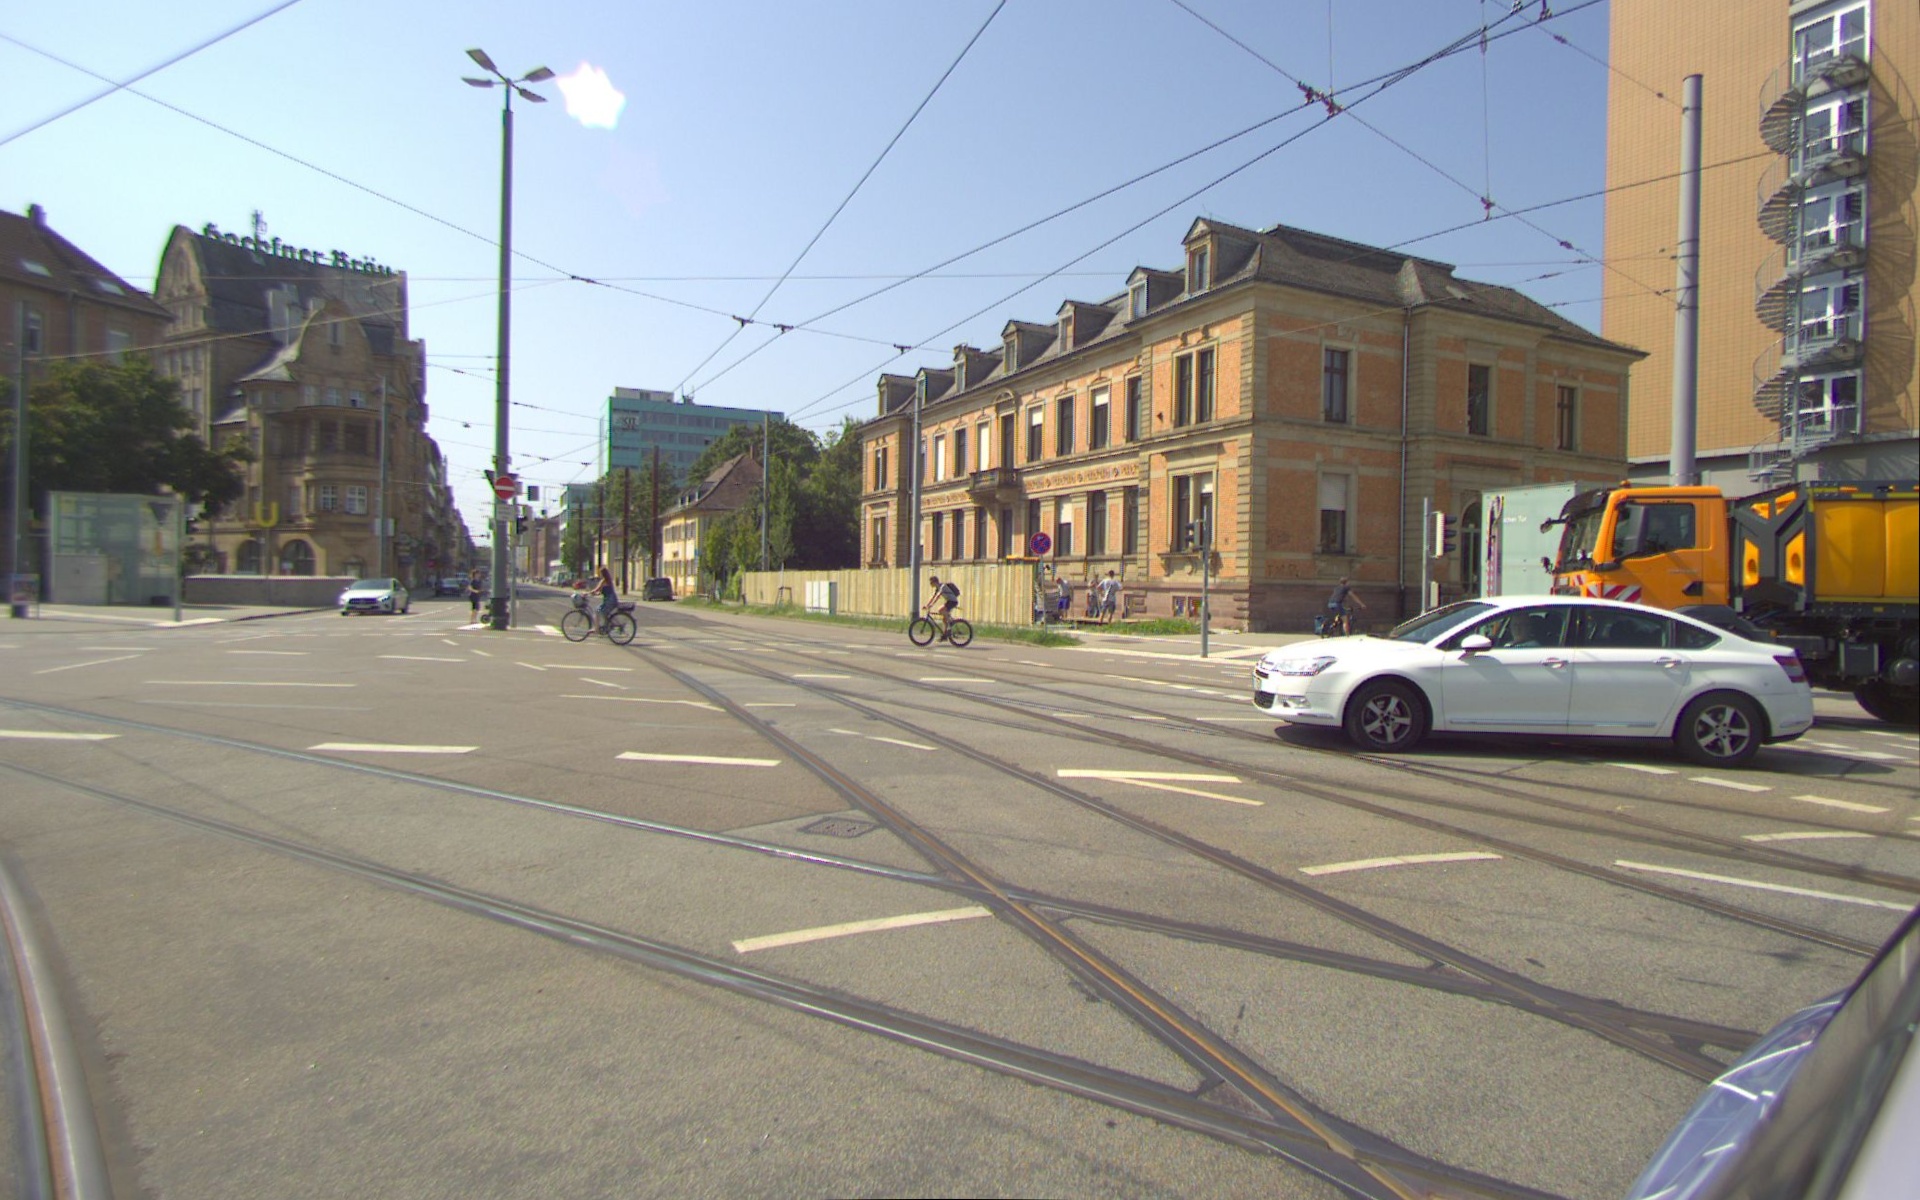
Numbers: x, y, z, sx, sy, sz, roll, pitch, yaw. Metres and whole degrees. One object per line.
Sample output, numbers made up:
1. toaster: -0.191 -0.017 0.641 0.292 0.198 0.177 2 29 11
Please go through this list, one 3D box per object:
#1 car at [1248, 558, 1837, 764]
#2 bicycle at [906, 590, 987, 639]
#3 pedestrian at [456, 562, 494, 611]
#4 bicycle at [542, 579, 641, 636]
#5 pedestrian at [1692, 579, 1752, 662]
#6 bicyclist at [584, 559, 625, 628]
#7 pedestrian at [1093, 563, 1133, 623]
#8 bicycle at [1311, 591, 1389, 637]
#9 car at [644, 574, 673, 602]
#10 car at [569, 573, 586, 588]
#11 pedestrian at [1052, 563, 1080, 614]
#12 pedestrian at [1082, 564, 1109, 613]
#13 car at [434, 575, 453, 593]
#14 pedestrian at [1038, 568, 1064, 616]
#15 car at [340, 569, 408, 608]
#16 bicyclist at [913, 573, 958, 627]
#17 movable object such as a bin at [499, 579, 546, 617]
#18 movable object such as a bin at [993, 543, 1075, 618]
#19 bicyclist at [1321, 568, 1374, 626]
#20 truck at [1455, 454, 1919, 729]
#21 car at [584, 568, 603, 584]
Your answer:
1. car: 5.255 0.509 9.737 4.525 1.639 1.768 2 -1 8
2. bicycle: -0.322 0.353 24.309 1.816 1.125 0.714 1 1 -14
3. pedestrian: -14.068 -0.395 29.361 0.800 1.368 0.720 1 1 -6
4. bicycle: -8.194 0.156 22.497 2.093 1.125 0.440 3 1 9
5. pedestrian: 15.567 0.388 20.687 0.945 1.629 0.782 1 2 39
6. bicyclist: -7.889 -0.149 22.471 0.633 1.499 0.657 1 1 9
7. pedestrian: 4.772 -0.220 31.606 1.032 1.836 0.676 2 1 33
8. bicycle: 9.850 0.349 25.583 1.916 1.140 0.473 0 1 -16
9. car: -23.336 -0.880 78.266 1.958 2.039 4.008 1 -1 -19
10. car: -52.093 -2.684 137.821 1.958 1.928 4.007 1 -1 -22
11. pedestrian: 3.636 -0.399 34.675 0.681 1.693 0.676 1 1 33
12. pedestrian: 4.698 -0.400 35.185 0.681 1.693 0.676 1 1 33
13. car: -41.425 -1.266 81.176 1.347 1.416 3.260 1 -1 -27
14. pedestrian: 3.267 -0.294 36.245 0.681 1.693 0.676 1 1 33
15. car: -22.798 -0.422 39.465 1.554 1.305 3.733 -1 -2 -18
16. bicyclist: -0.587 -0.008 24.146 0.846 1.249 1.104 1 1 -13
17. movable object such as a bin: -12.731 -0.061 29.460 1.028 1.099 0.812 0 -1 28
18. movable object such as a bin: 2.788 -0.745 39.077 1.780 2.705 4.465 1 1 -14
19. bicyclist: 9.794 -0.092 25.609 0.910 1.441 0.805 0 1 -17
20. truck: 10.918 -0.096 13.772 7.095 3.270 3.024 0 -1 18
21. car: -44.152 -2.863 121.853 1.958 1.705 4.007 1 -1 -22
